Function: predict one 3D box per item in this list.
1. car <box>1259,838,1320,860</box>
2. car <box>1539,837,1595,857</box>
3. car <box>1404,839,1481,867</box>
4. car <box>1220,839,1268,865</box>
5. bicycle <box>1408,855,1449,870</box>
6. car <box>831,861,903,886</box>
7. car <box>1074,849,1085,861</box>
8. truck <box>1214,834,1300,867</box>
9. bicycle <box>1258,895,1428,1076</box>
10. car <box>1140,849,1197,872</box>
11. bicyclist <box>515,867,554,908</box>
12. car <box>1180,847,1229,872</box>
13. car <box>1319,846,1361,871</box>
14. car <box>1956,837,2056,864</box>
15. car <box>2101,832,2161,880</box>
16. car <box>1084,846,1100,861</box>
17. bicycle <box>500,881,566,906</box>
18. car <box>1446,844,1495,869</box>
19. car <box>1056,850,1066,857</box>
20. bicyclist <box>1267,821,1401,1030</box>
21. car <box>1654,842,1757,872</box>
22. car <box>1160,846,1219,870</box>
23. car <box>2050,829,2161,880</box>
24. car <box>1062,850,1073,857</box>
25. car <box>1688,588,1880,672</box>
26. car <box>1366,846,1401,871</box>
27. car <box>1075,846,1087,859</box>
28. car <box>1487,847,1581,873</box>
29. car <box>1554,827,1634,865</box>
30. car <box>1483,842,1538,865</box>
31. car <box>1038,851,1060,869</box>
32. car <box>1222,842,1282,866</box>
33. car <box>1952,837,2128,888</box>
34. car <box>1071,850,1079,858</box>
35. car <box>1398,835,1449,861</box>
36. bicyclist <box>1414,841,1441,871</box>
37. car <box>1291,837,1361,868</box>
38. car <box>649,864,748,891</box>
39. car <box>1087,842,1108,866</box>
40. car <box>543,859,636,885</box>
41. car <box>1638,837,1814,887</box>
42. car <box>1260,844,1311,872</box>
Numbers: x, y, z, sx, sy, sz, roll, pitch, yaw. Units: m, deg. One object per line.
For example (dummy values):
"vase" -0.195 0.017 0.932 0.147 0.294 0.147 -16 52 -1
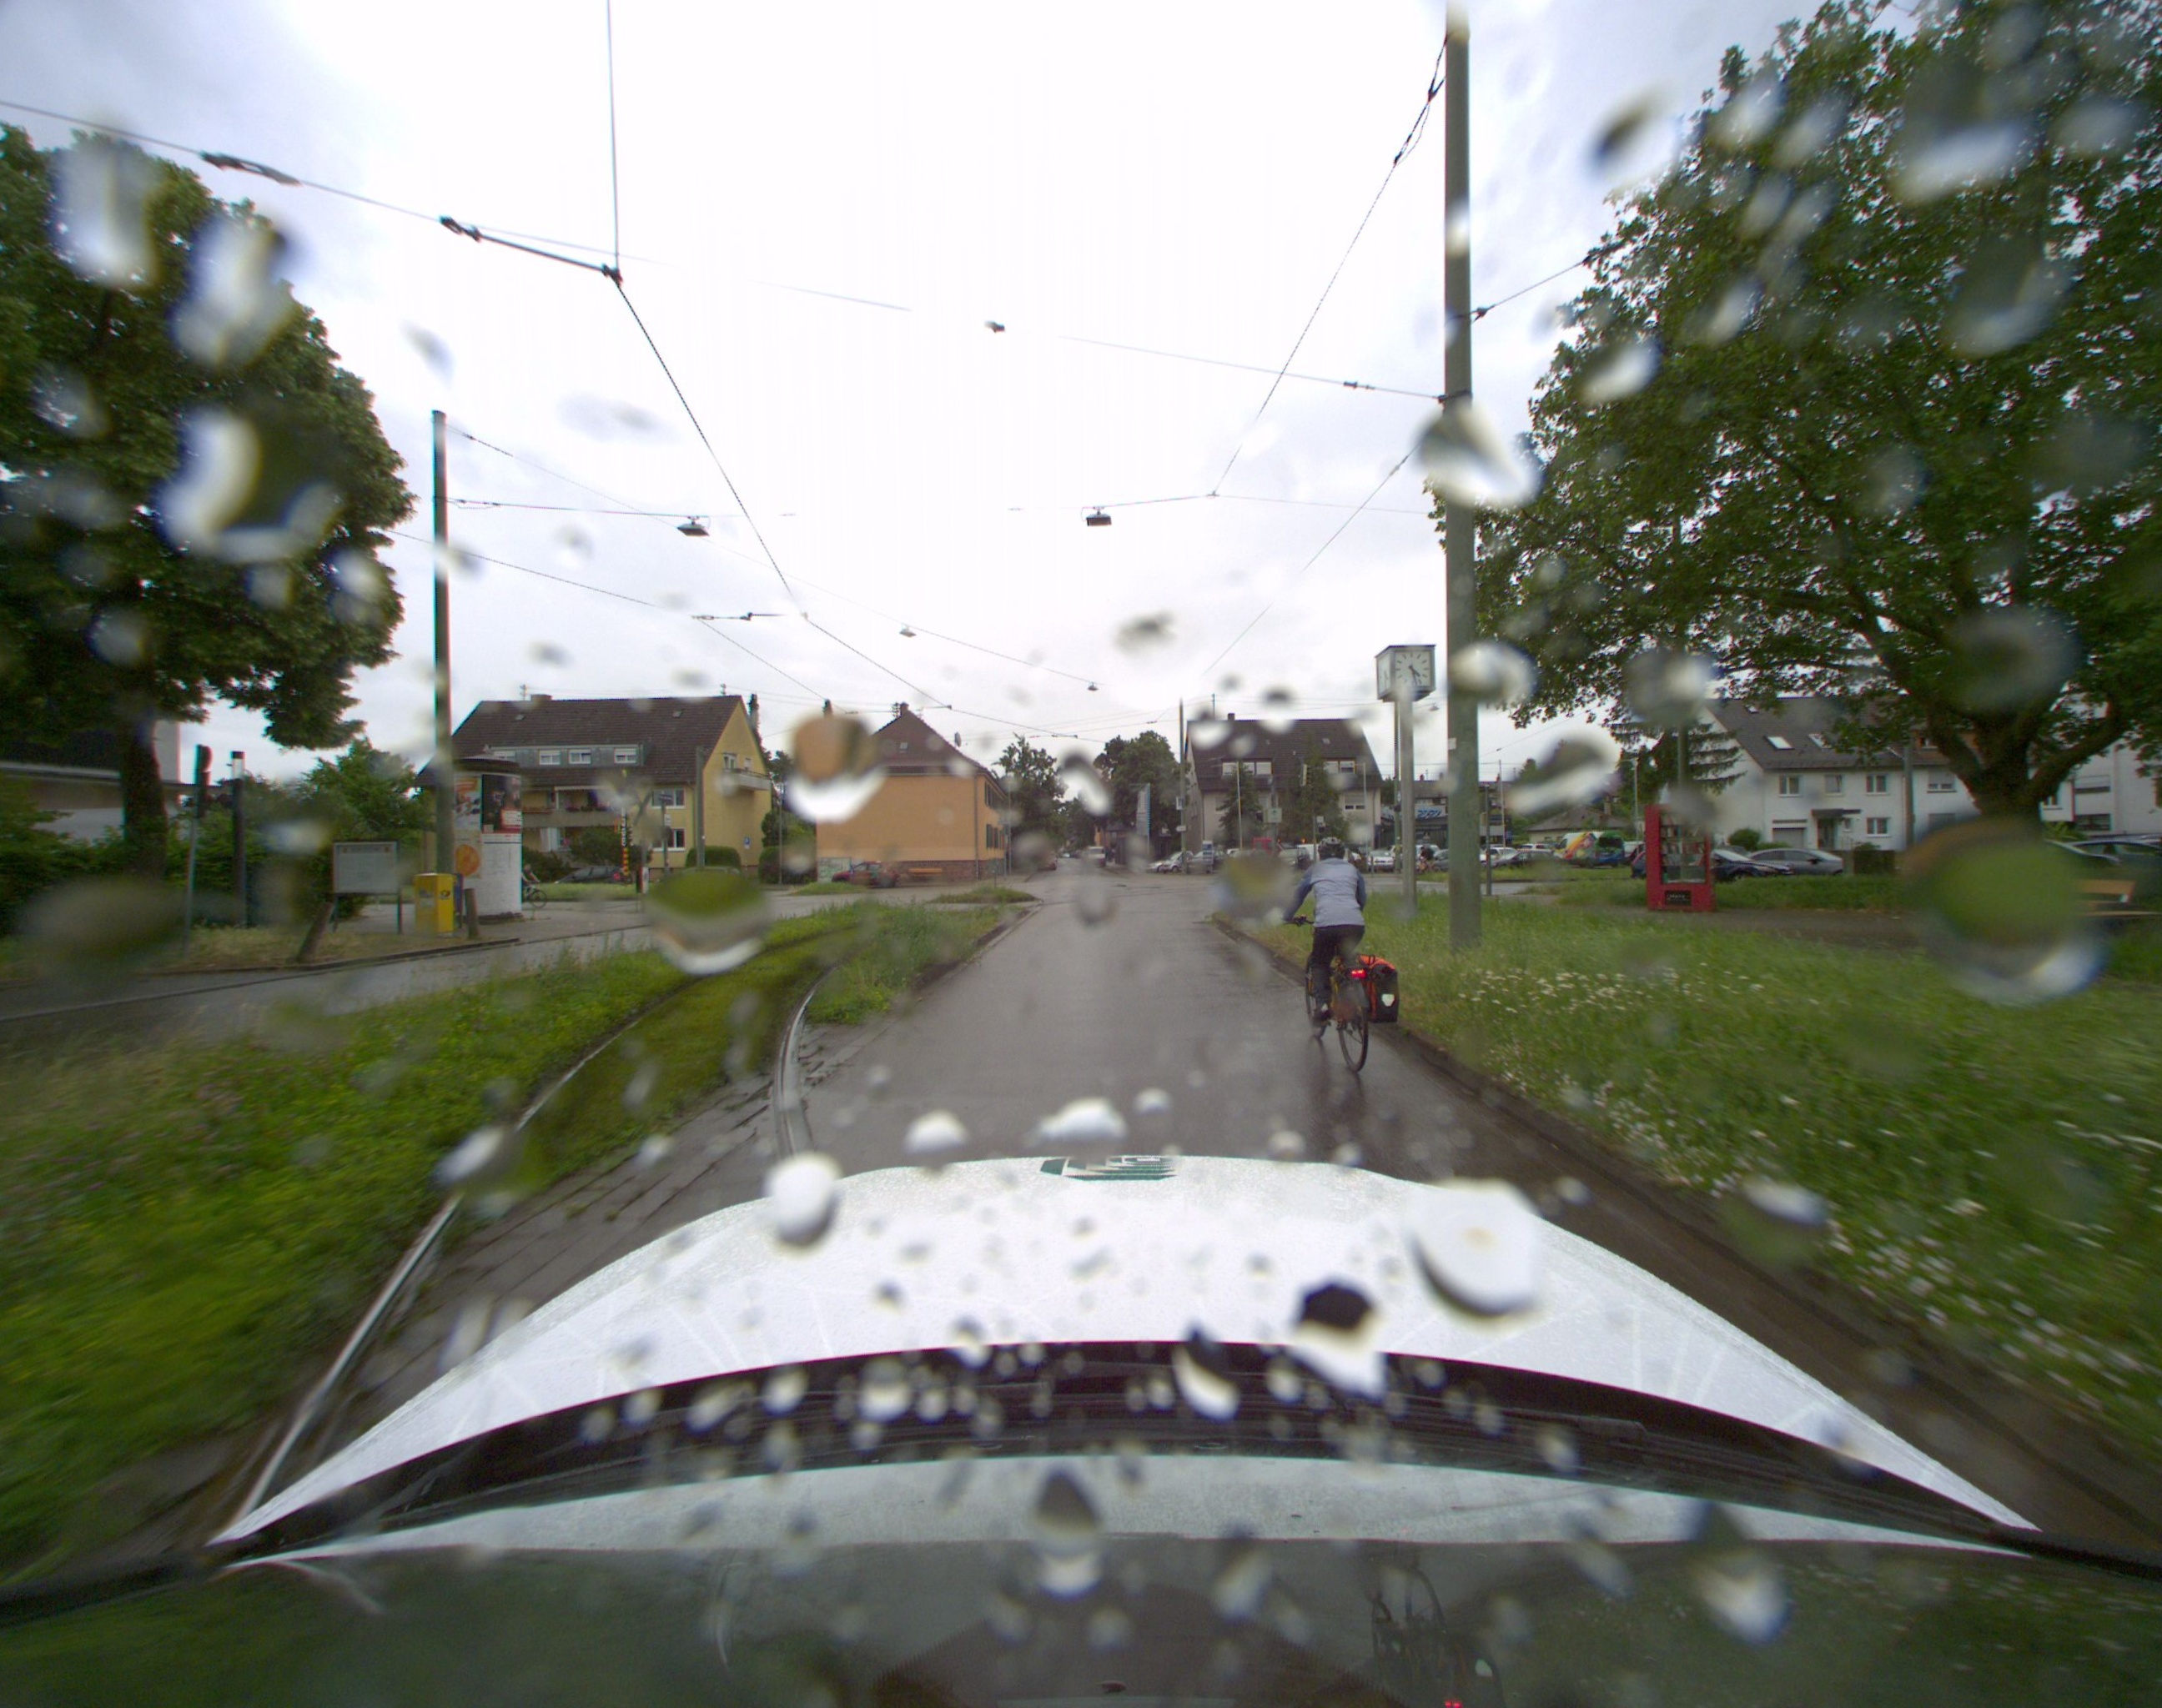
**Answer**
"car" 16.586 -0.383 64.887 4.415 1.687 2.001 -1 -1 2
"car" 41.932 -0.629 70.254 4.449 1.580 1.781 -1 -1 -22
"car" 20.570 -0.058 46.410 3.621 1.504 1.722 1 0 -2
"car" 10.807 -0.133 53.849 1.784 1.578 3.897 -2 0 33
"bicycle" 19.000 0.465 44.566 1.809 0.786 0.942 -2 0 -2
"car" -12.057 1.076 45.995 3.596 1.339 1.721 1 0 -3
"car" -0.257 0.156 147.460 1.823 2.013 3.997 1 0 -2
"truck" 13.325 -0.222 61.636 6.032 2.272 2.010 -2 -1 20
"bicycle" 1.944 0.920 6.368 0.749 1.073 1.928 -2 0 3
"car" 6.653 0.516 61.760 3.872 1.578 1.796 -2 0 -20
"bicyclist" -21.274 1.291 31.717 0.909 1.558 0.833 0 -1 -2
"car" 8.380 0.343 55.096 1.784 1.578 3.897 -2 0 33
"car" 16.873 0.284 52.985 1.810 1.504 4.083 1 0 29
"car" 52.656 -0.209 46.396 3.917 1.423 1.606 1 0 0
"car" 36.633 0.054 26.667 1.970 1.553 3.955 1 -2 -37
"car" 1.414 -0.057 107.870 1.987 2.013 4.000 1 0 0
"bicycle" -21.314 1.538 31.708 1.974 0.912 0.823 0 -1 -3
"car" 25.407 0.144 53.242 1.709 1.573 3.621 1 0 4
"car" -5.273 -0.111 216.886 1.832 1.697 4.010 1 0 -16
"bicyclist" 1.924 0.517 6.311 0.748 1.485 0.847 -2 0 2
"car" 33.212 0.168 43.358 3.976 1.476 1.999 -1 0 -2
"car" 7.824 0.287 58.812 3.872 1.578 1.796 -2 0 -20
"car" 34.140 0.007 25.997 1.832 1.501 3.955 1 -4 -36
"car" -3.546 -0.070 211.461 1.832 1.697 4.010 1 0 -16
"car" 23.333 -7.362 27.239 1.807 1.476 4.511 -1 0 -25
"car" 19.605 0.266 52.925 1.814 1.504 4.075 1 0 16
"car" -0.071 -0.182 128.647 1.823 2.013 3.998 1 0 -1
"car" 25.510 0.324 45.909 4.363 1.339 1.721 2 0 -2
"car" 34.366 -0.537 54.779 2.138 2.406 5.149 1 0 0
"car" 27.874 -0.020 52.976 1.710 1.396 3.846 1 0 4
"car" -3.036 0.546 78.376 1.988 1.618 3.997 -1 0 -2
"car" 12.335 0.018 58.834 3.932 1.598 2.010 -2 -1 20
"car" 30.916 0.317 26.337 1.762 1.506 3.478 1 -3 -35
"car" -1.512 0.012 193.186 1.823 2.013 3.997 1 0 -2
"car" 22.400 -0.413 53.356 1.795 1.578 3.874 -2 0 2
"bicyclist" 18.958 0.110 44.553 1.036 1.598 0.949 -2 0 -1
"car" 17.382 -0.091 57.905 4.415 2.014 2.001 -1 -1 2
"car" -21.118 1.285 45.090 4.479 1.396 1.966 -1 0 -2
"car" 1.815 -0.040 90.572 2.147 2.572 4.130 1 0 -2
"car" -26.865 0.959 44.604 3.977 1.332 1.758 1 0 -3
"car" 20.962 0.238 26.655 1.809 1.476 4.137 -1 0 -29
"car" 13.393 0.230 53.117 1.974 1.717 4.026 -2 0 33
